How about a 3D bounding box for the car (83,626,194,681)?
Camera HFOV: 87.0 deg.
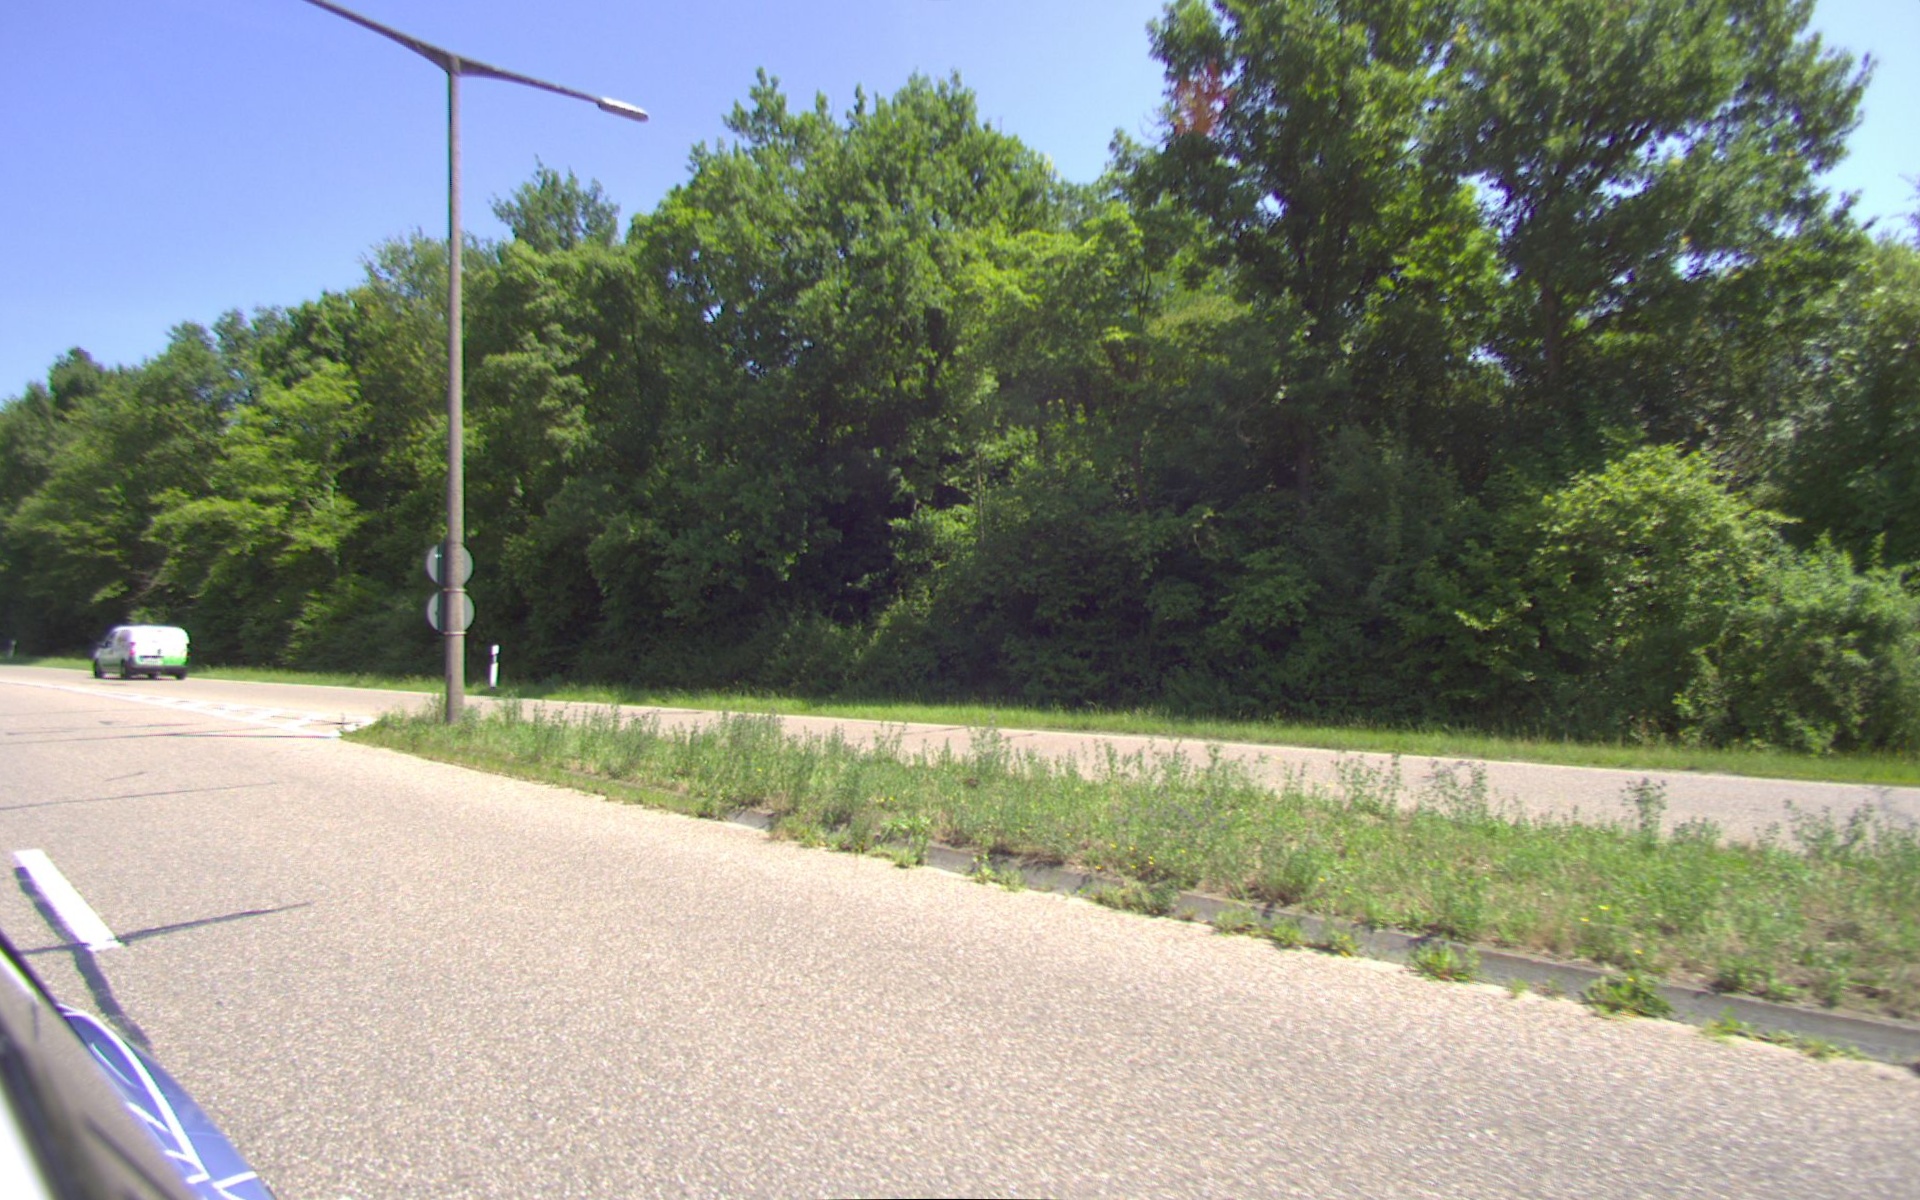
[{"bbox_3d":[-27.047,1.751,33.299,4.085,1.701,1.717,-2,-4,35],"label":"car"}]
